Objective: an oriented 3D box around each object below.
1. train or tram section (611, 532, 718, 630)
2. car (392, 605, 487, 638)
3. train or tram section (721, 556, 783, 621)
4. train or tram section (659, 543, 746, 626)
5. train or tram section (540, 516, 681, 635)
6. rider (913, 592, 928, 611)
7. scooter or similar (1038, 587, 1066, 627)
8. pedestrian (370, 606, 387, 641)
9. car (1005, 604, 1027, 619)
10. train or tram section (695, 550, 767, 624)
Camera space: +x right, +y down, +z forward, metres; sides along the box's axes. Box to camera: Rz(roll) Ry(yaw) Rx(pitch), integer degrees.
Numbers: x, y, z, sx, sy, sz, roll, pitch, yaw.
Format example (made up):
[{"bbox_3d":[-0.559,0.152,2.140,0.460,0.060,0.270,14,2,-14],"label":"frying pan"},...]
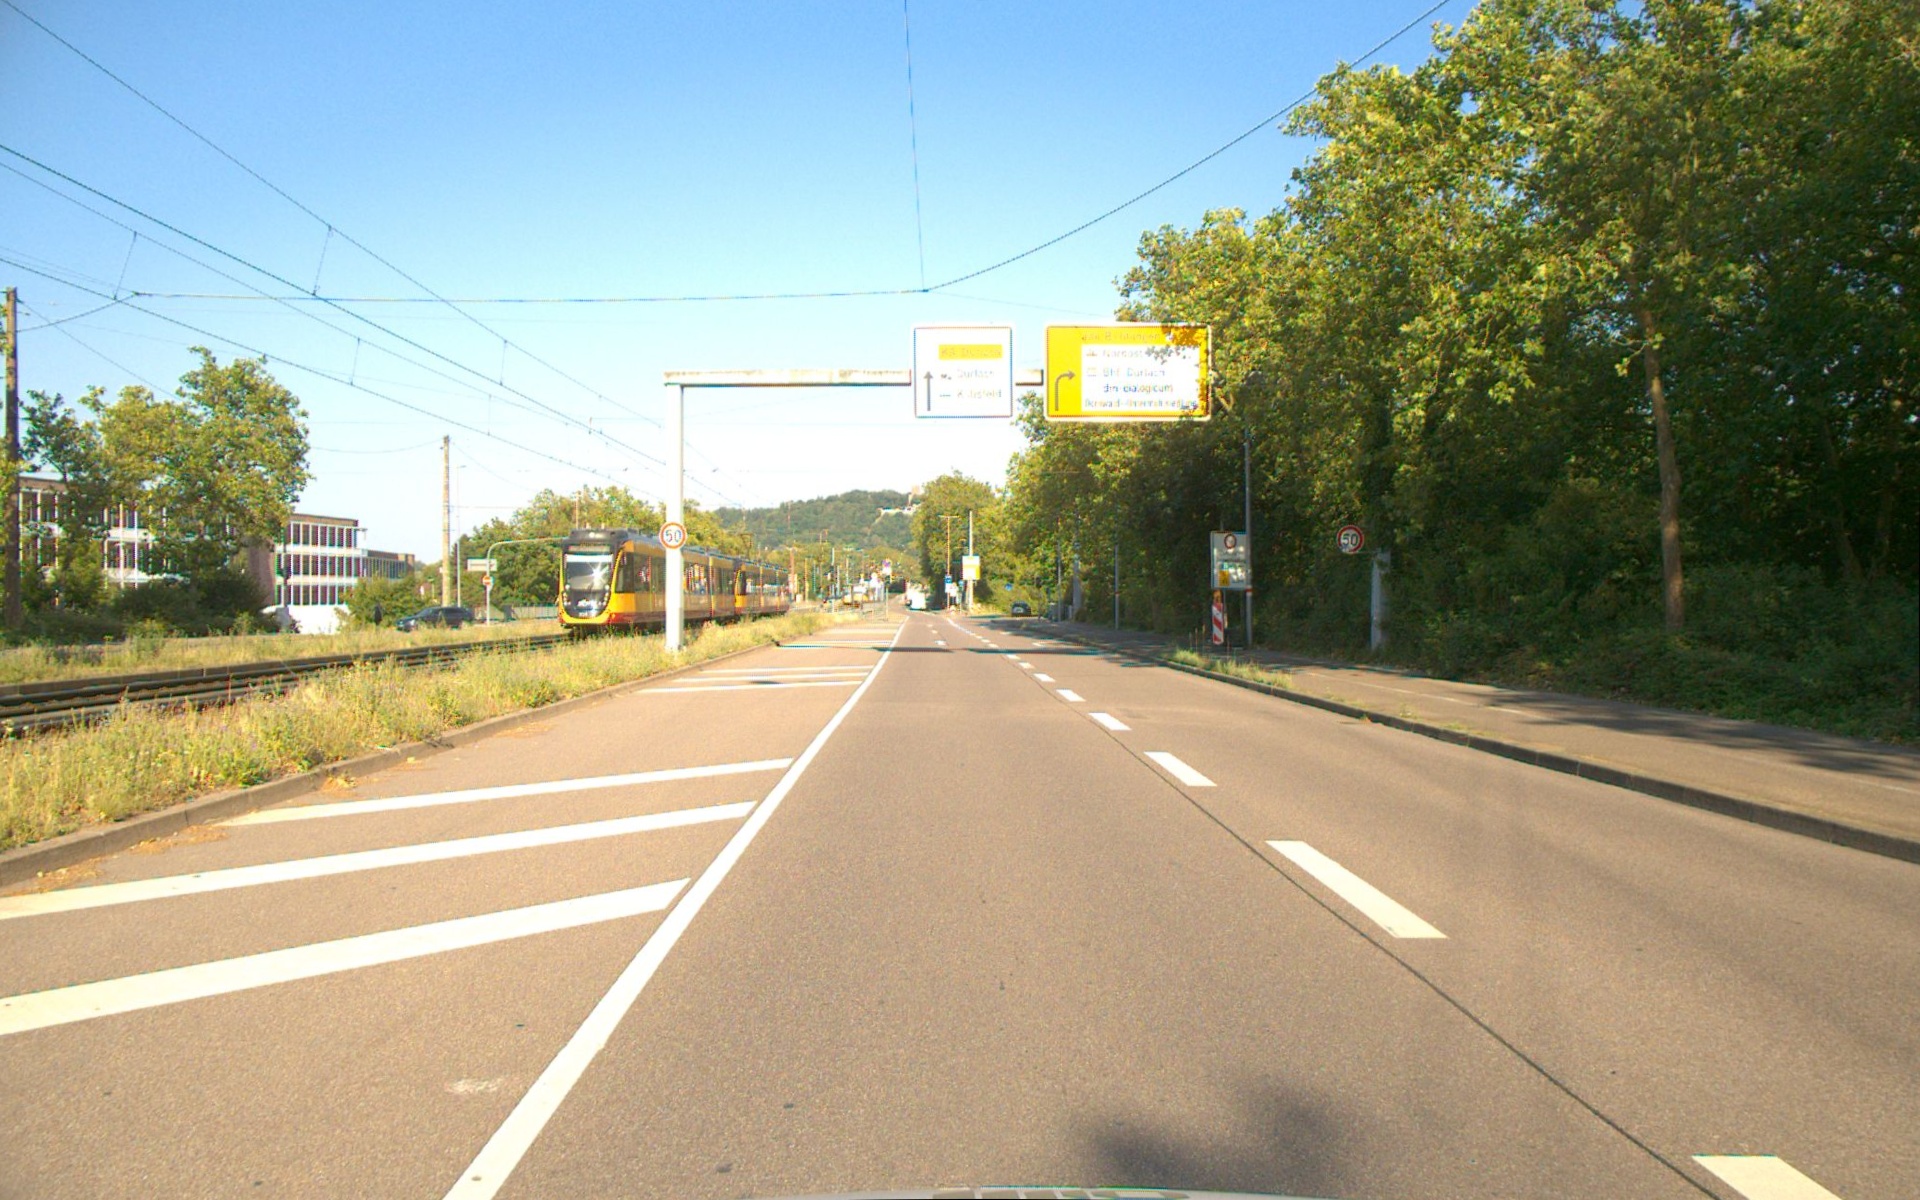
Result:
[{"bbox_3d":[-12.999,-0.753,73.895,2.747,3.971,11.988,1,0,-1],"label":"train or tram section"},{"bbox_3d":[-30.549,1.255,97.054,5.063,1.846,1.930,1,0,-29],"label":"car"},{"bbox_3d":[-13.808,-0.707,110.700,2.767,4.020,12.649,1,0,-2],"label":"train or tram section"},{"bbox_3d":[-13.213,-0.708,85.800,2.747,3.971,11.810,1,0,-1],"label":"train or tram section"},{"bbox_3d":[-12.795,-0.800,61.745,2.747,3.971,12.329,1,0,-1],"label":"train or tram section"},{"bbox_3d":[-5.495,0.176,230.445,2.064,2.693,0.737,0,0,4],"label":"rider"},{"bbox_3d":[6.488,0.485,117.011,1.647,2.763,4.868,1,0,-1],"label":"scooter or similar"},{"bbox_3d":[-31.045,1.232,88.271,0.529,1.853,0.651,1,-1,21],"label":"pedestrian"},{"bbox_3d":[6.018,1.206,177.018,2.042,1.593,3.957,1,0,5],"label":"car"},{"bbox_3d":[-13.449,-0.688,98.029,2.767,4.020,12.702,1,0,-2],"label":"train or tram section"}]
